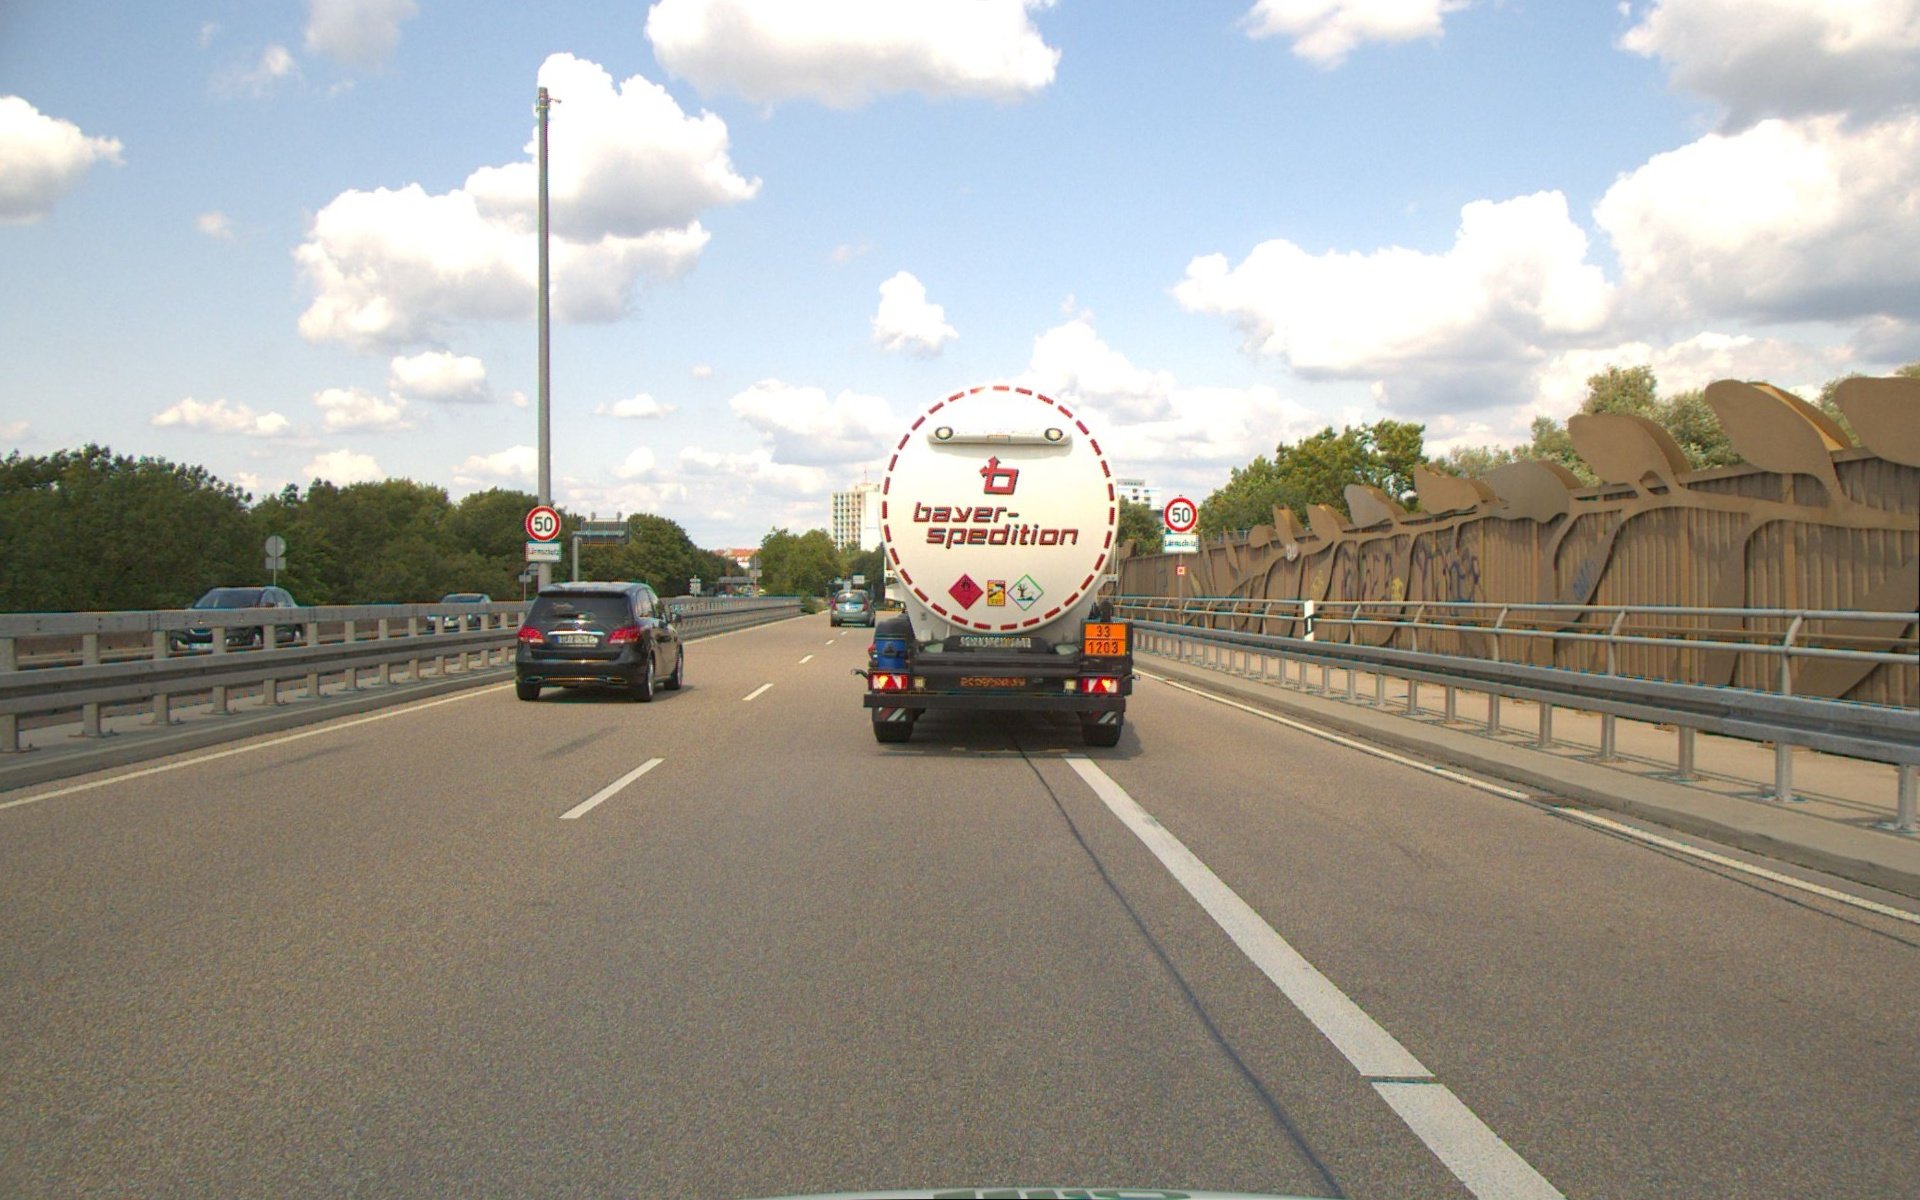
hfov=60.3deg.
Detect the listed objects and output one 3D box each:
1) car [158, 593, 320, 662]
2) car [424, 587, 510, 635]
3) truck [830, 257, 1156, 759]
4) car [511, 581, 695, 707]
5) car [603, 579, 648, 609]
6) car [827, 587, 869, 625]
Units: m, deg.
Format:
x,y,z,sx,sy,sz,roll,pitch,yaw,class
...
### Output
x,y,z,sx,sy,sz,roll,pitch,yaw,class
-16.617,0.594,38.383,1.873,1.489,4.517,0,0,-1,car
-17.374,0.359,58.507,1.953,1.601,3.998,1,0,-3,car
0.446,-0.865,18.866,2.835,4.445,8.032,1,0,2,truck
-4.856,0.535,23.093,1.677,1.554,4.591,1,0,-2,car
-19.580,-0.382,97.012,1.954,1.668,3.998,1,0,-3,car
-4.842,0.244,72.154,1.712,1.558,3.998,0,1,-2,car
